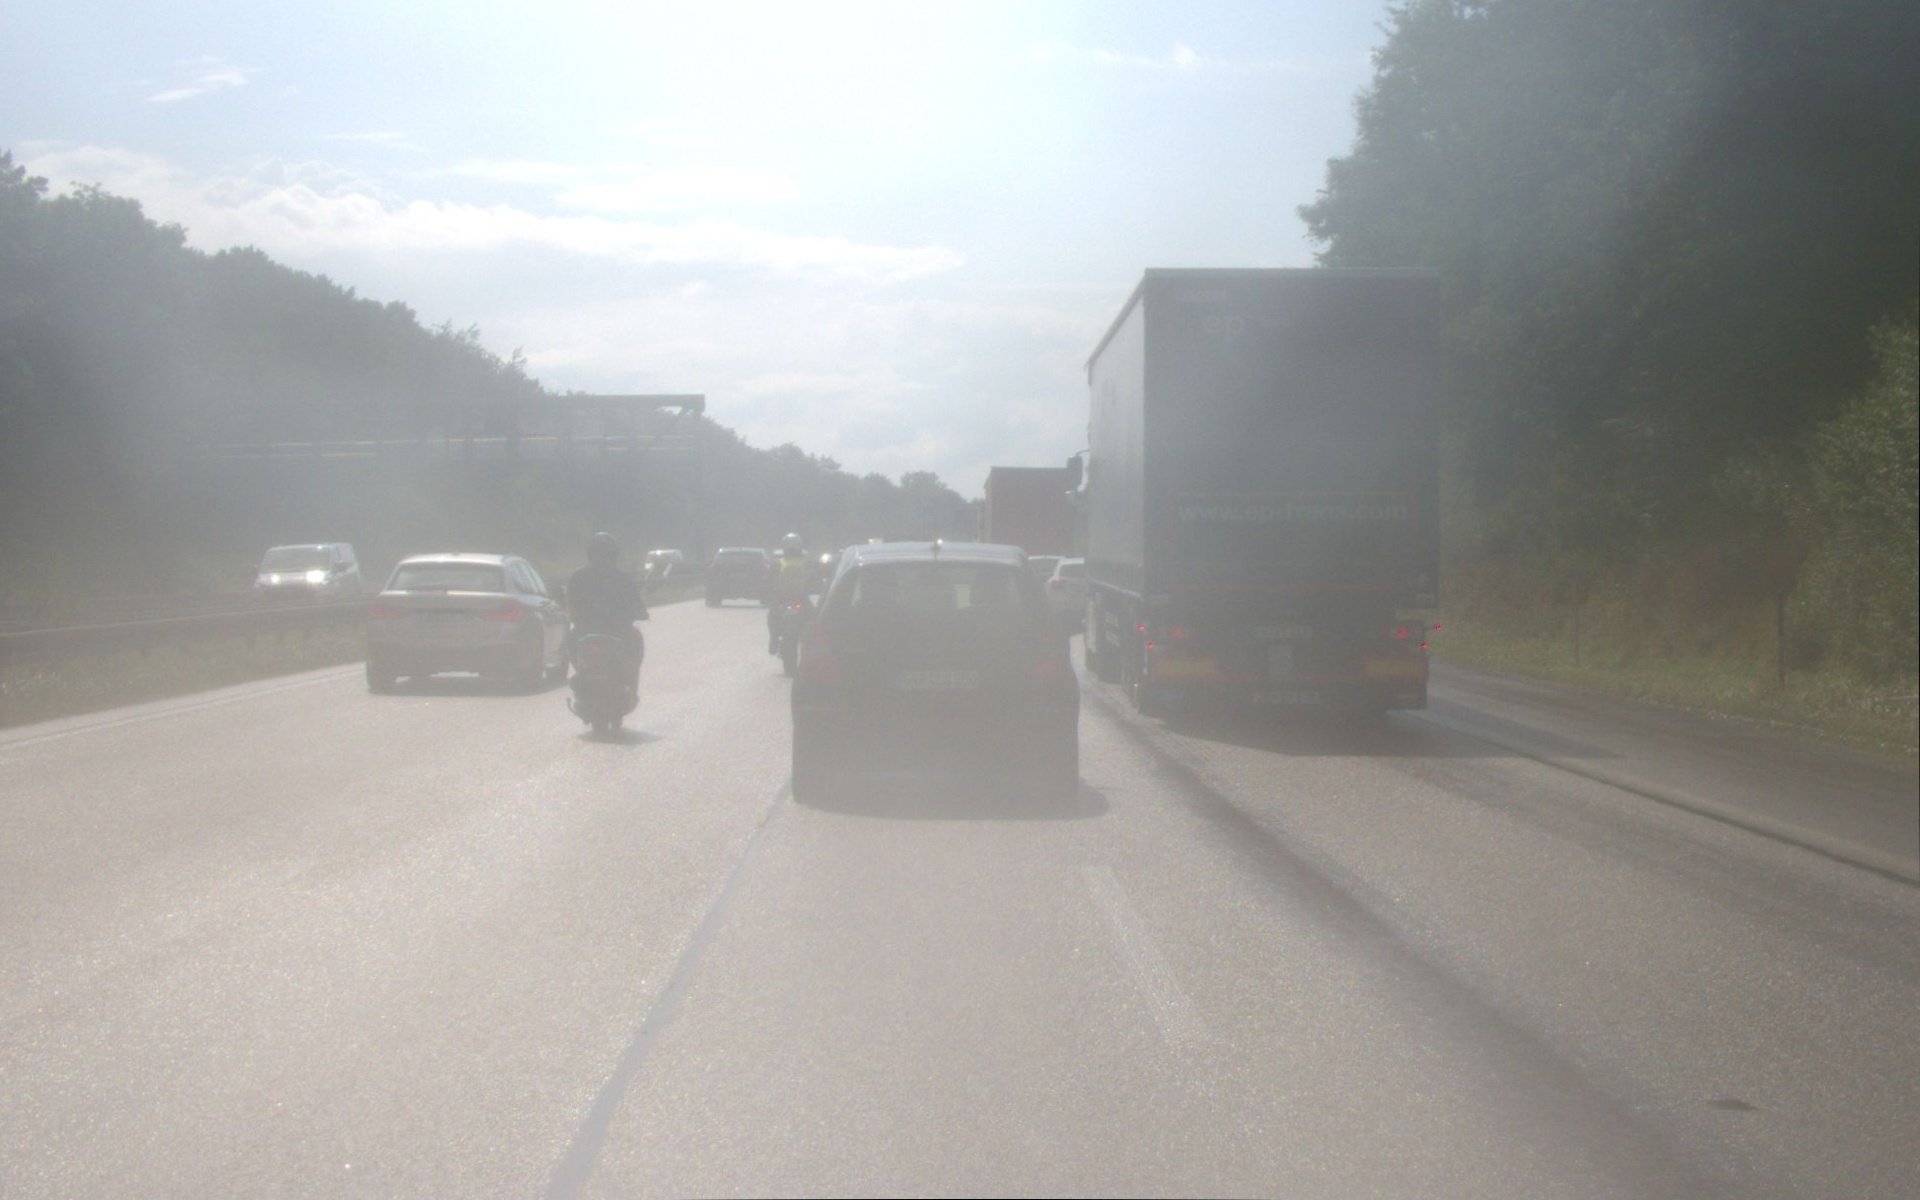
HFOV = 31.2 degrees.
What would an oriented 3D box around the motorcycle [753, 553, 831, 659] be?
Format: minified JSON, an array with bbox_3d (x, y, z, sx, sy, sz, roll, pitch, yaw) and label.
[{"bbox_3d":[-2.056,0.061,42.339,0.819,1.258,2.117,1,1,1],"label":"motorcycle"}]

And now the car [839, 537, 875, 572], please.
[{"bbox_3d":[-5.953,-2.633,198.945,1.993,2.007,4.000,1,0,-1],"label":"car"}]

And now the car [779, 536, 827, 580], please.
[{"bbox_3d":[-5.841,-1.567,128.092,1.675,1.591,3.437,0,1,-1],"label":"car"}]

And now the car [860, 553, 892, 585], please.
[{"bbox_3d":[-5.353,-1.950,218.572,1.993,2.007,4.000,1,0,-1],"label":"car"}]

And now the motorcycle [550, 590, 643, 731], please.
[{"bbox_3d":[-2.974,0.480,28.255,0.676,1.083,1.982,1,1,-4],"label":"motorcycle"}]

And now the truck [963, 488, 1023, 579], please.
[{"bbox_3d":[1.709,-3.493,184.225,2.882,4.671,12.659,1,1,-1],"label":"truck"}]

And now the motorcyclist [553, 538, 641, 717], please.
[{"bbox_3d":[-2.976,0.214,28.232,0.670,1.437,1.020,1,0,-4],"label":"motorcyclist"}]

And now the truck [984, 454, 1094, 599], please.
[{"bbox_3d":[2.434,-2.314,109.261,3.202,4.389,9.432,0,1,0],"label":"truck"}]

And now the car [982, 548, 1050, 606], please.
[{"bbox_3d":[1.476,-0.624,91.433,1.675,1.485,3.437,0,1,-1],"label":"car"}]

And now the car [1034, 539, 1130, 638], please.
[{"bbox_3d":[2.557,-0.251,72.698,1.849,2.007,4.087,1,0,0],"label":"car"}]

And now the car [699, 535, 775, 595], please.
[{"bbox_3d":[-6.198,-0.978,95.869,1.893,1.622,4.195,0,1,-1],"label":"car"}]

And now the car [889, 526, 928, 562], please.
[{"bbox_3d":[-2.179,-2.373,145.737,1.631,1.485,3.437,0,1,-1],"label":"car"}]

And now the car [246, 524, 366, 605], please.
[{"bbox_3d":[-15.748,-0.871,83.013,1.993,1.828,4.619,2,1,-1],"label":"car"}]

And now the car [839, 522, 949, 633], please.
[{"bbox_3d":[-1.258,-0.431,65.149,1.993,2.007,4.000,1,0,-1],"label":"car"}]

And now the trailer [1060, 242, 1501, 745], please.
[{"bbox_3d":[2.954,-1.013,36.521,3.088,4.298,14.106,0,1,-1],"label":"trailer"}]

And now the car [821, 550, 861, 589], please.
[{"bbox_3d":[-6.198,-1.587,179.114,1.993,2.007,4.000,1,0,-1],"label":"car"}]

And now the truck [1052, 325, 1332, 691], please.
[{"bbox_3d":[2.830,-1.124,43.759,3.052,4.310,5.886,1,1,-1],"label":"truck"}]

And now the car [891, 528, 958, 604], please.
[{"bbox_3d":[-0.935,-0.896,89.322,1.675,1.929,3.774,0,1,-1],"label":"car"}]

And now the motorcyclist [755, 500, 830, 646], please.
[{"bbox_3d":[-2.049,-0.331,42.295,0.821,1.754,1.390,1,0,1],"label":"motorcyclist"}]

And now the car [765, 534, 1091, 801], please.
[{"bbox_3d":[-0.227,0.367,22.409,1.915,1.560,4.314,0,1,-1],"label":"car"}]

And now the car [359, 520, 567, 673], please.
[{"bbox_3d":[-5.461,-0.069,38.236,1.758,1.589,4.331,0,1,-1],"label":"car"}]
